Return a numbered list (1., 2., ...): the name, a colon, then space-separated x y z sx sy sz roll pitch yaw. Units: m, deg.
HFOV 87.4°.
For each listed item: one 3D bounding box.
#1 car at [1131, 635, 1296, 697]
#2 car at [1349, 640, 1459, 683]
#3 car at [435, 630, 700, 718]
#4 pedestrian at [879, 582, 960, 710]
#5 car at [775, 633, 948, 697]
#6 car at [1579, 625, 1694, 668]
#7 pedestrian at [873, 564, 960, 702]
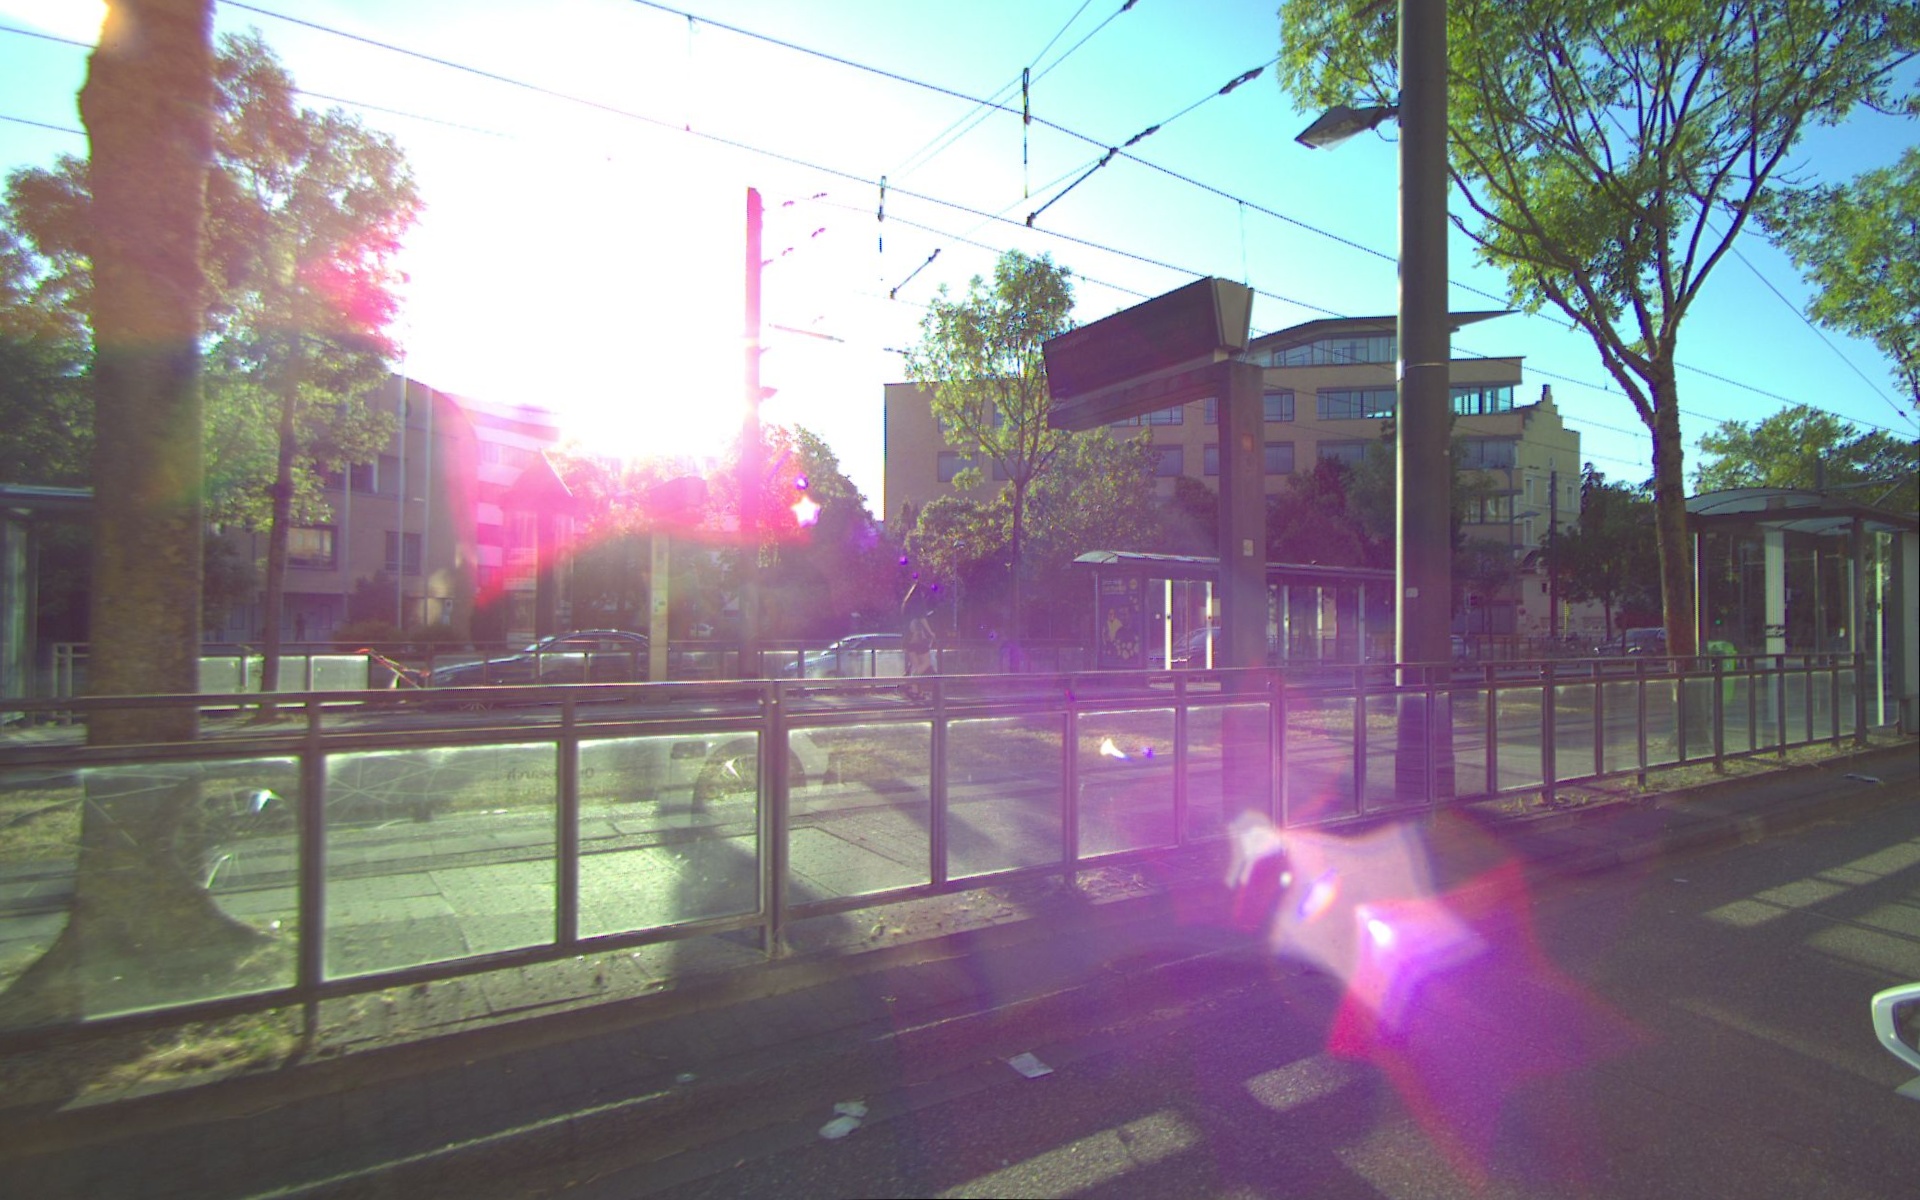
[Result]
1. car: 6.671 1.682 26.293 4.296 1.434 1.783 2 -1 -34
2. car: 15.982 2.158 36.063 4.390 1.432 1.599 2 -2 -35
3. car: -6.630 1.196 17.108 3.957 1.315 1.683 1 -1 -33
4. pedestrian: -0.670 0.749 16.617 1.114 2.040 0.766 1 -1 -31
5. car: -2.276 1.519 23.498 3.709 1.394 1.603 2 -5 -33
6. car: 26.417 1.772 39.196 4.840 1.572 1.983 1 -2 -32
7. pedestrian: -0.670 0.505 15.491 1.114 2.040 0.766 1 -1 -31
